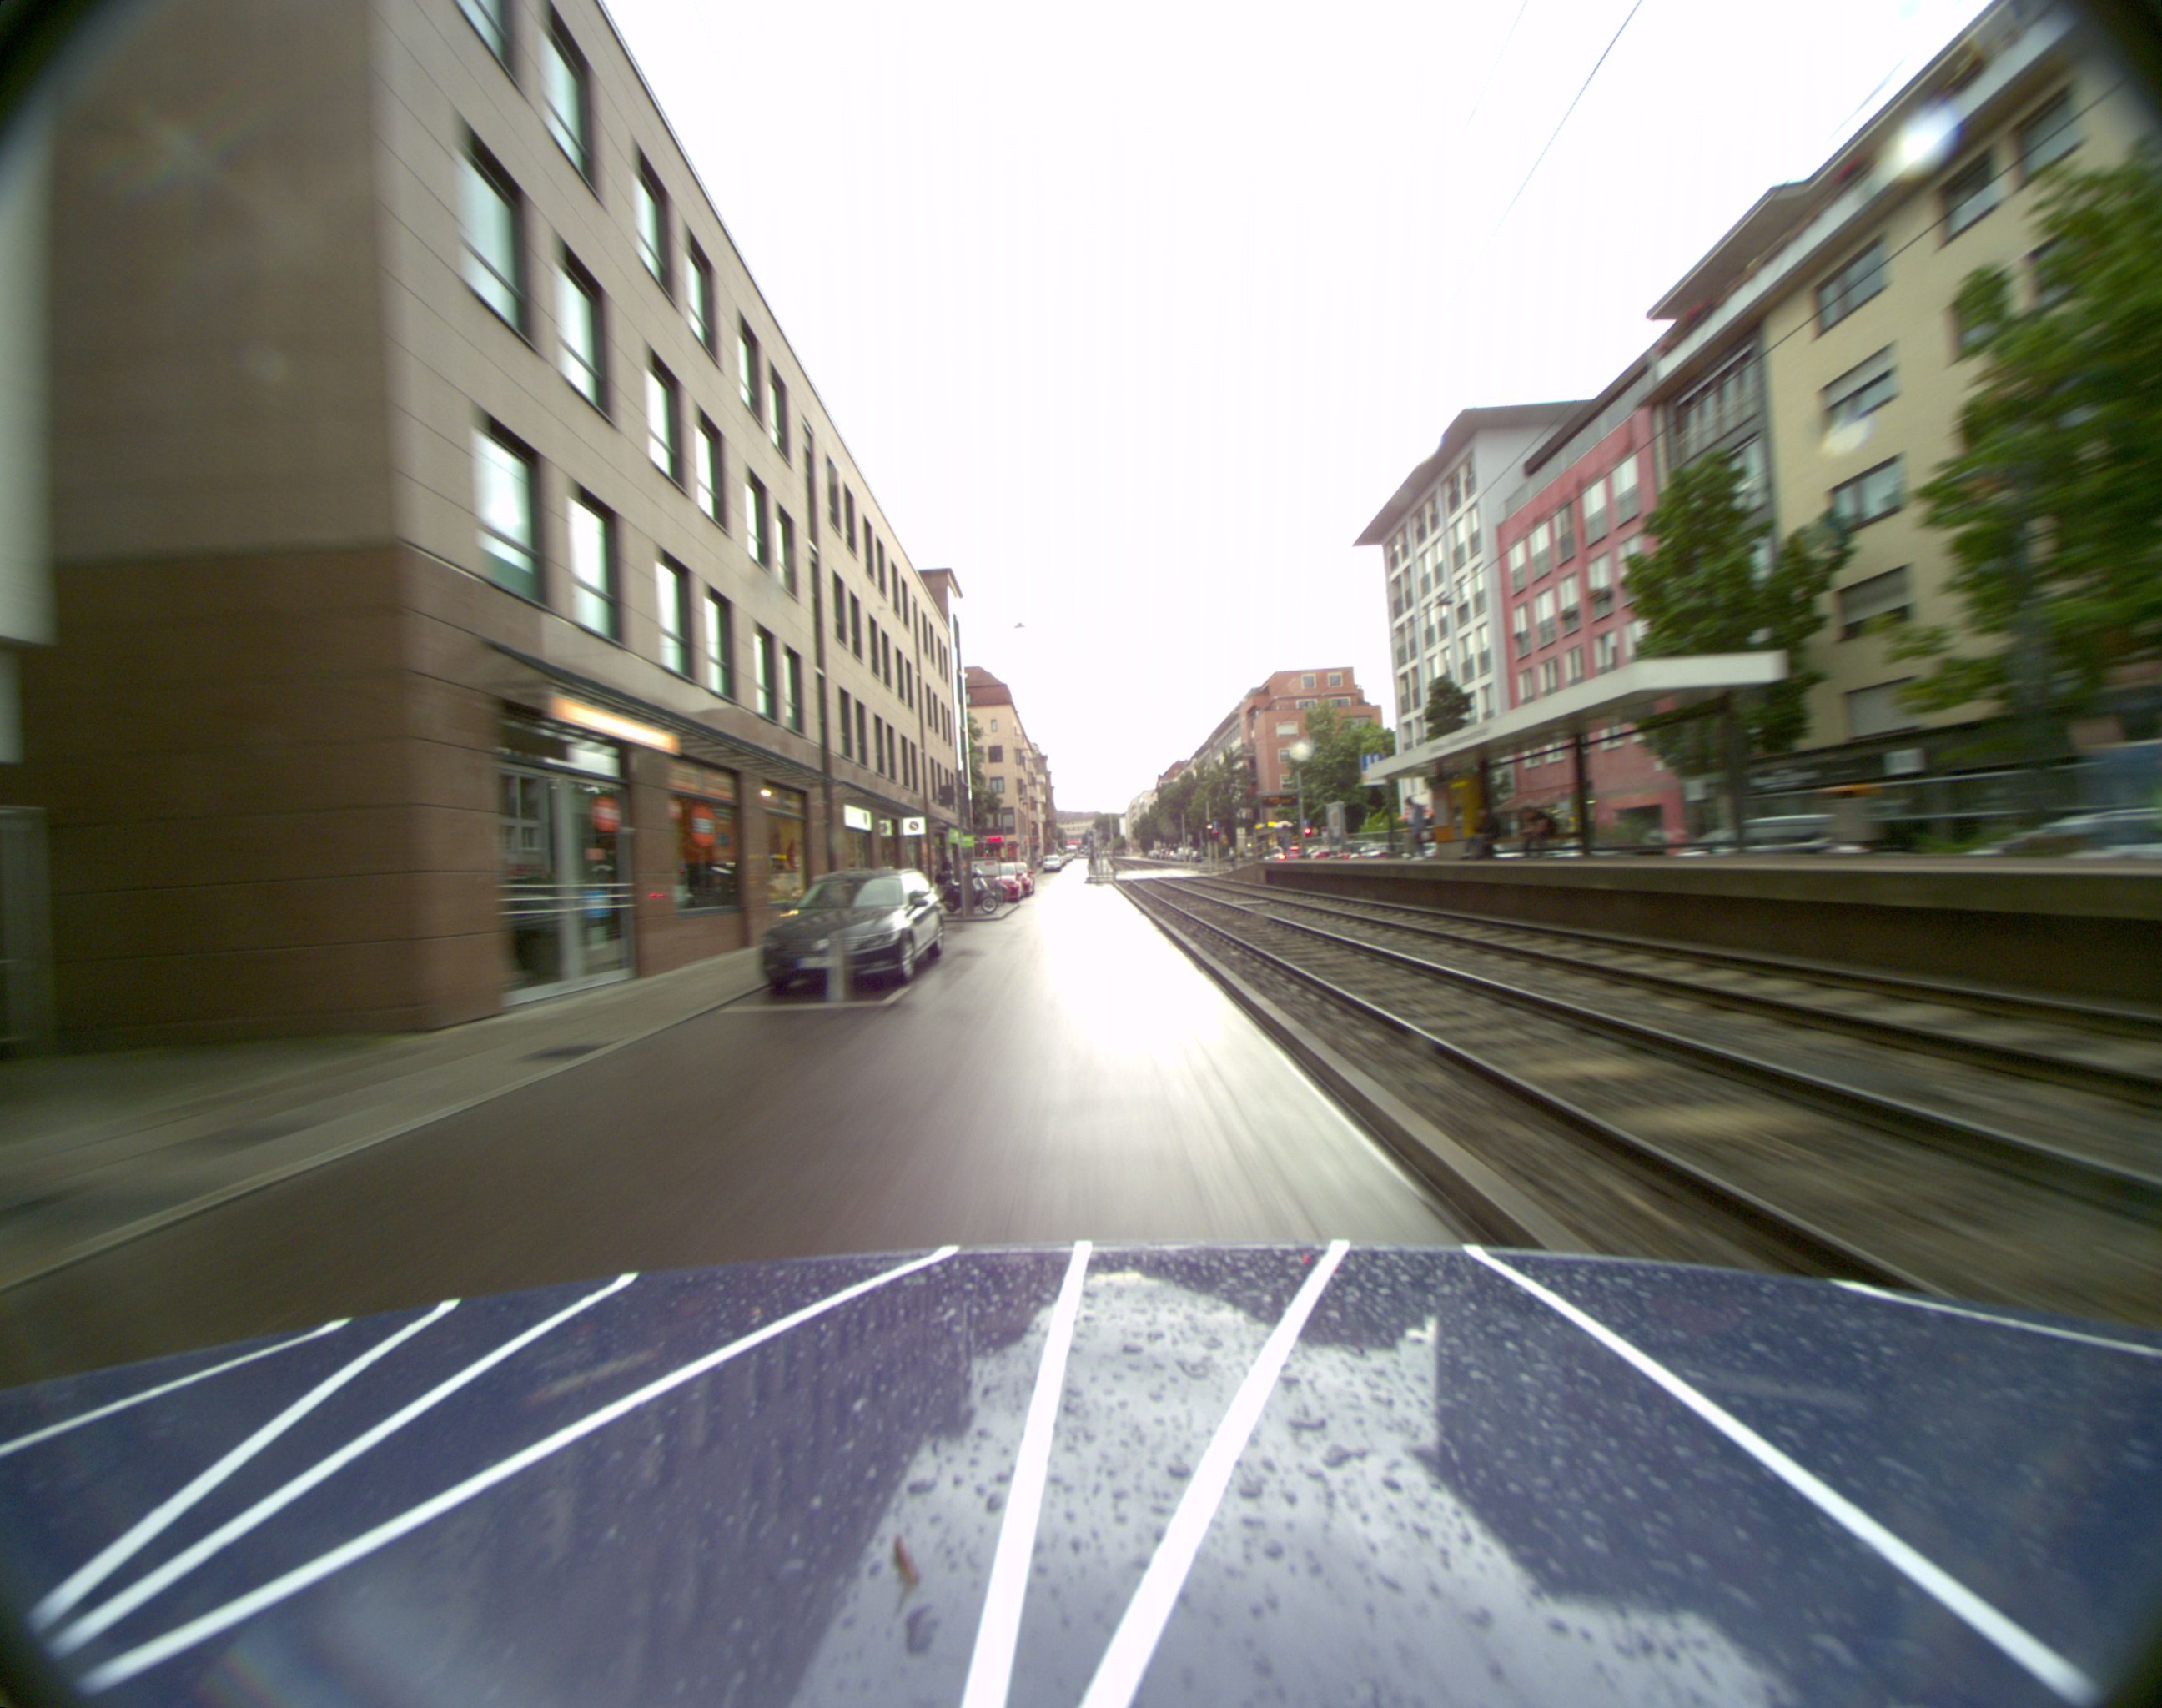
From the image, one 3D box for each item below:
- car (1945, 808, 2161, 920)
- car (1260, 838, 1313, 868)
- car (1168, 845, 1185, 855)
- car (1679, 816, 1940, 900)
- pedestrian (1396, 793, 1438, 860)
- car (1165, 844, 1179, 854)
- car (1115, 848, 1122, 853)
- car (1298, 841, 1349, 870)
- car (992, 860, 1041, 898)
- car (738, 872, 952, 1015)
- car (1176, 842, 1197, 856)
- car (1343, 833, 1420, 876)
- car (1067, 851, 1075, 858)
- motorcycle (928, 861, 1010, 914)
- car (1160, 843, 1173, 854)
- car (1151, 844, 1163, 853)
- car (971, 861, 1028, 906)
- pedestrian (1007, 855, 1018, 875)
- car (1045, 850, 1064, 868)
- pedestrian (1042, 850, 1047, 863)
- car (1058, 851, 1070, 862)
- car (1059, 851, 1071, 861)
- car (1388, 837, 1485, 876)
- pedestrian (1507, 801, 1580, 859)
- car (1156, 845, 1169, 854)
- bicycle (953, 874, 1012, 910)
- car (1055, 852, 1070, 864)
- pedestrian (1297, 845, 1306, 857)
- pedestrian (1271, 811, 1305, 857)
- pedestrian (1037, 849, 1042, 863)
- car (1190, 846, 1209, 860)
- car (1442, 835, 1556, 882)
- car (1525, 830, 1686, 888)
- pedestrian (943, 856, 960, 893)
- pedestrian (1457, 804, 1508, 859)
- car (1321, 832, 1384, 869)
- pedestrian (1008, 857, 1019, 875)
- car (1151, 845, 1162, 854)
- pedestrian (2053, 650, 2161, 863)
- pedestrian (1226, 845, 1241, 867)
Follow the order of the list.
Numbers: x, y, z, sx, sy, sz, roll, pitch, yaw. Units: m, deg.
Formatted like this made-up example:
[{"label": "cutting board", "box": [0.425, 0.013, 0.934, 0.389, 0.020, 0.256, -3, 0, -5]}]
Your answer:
[{"label": "car", "box": [14.677, 0.101, 10.291, 1.572, 1.428, 3.735, -3, 0, -3]}, {"label": "car", "box": [12.174, -0.071, 45.317, 1.811, 1.569, 5.020, -3, 0, 1]}, {"label": "car", "box": [14.579, -0.671, 115.974, 1.696, 1.454, 4.529, -3, 1, -3]}, {"label": "car", "box": [14.491, 0.061, 15.430, 1.572, 1.428, 3.735, -3, 0, -3]}, {"label": "pedestrian", "box": [8.926, -0.717, 20.233, 0.657, 1.701, 0.850, -3, 1, -2]}, {"label": "car", "box": [14.847, -0.758, 123.917, 1.643, 1.530, 3.803, -3, 1, -1]}, {"label": "car", "box": [11.134, -1.078, 225.540, 1.696, 1.454, 4.529, -3, 1, -3]}, {"label": "car", "box": [14.941, 0.085, 47.038, 1.730, 1.602, 4.553, -3, 0, 2]}, {"label": "car", "box": [-2.821, 1.058, 33.875, 1.702, 1.471, 3.867, -1, 1, 2]}, {"label": "car", "box": [-3.132, 1.093, 11.147, 1.779, 1.460, 4.608, -3, 0, -2]}, {"label": "car", "box": [14.774, -0.670, 106.712, 1.912, 1.834, 5.255, -3, 1, -4]}, {"label": "car", "box": [14.380, 0.025, 36.621, 1.807, 1.847, 4.379, -3, 0, -2]}, {"label": "car", "box": [-2.241, 0.094, 166.771, 1.588, 1.343, 3.977, -3, 1, -1]}, {"label": "motorcycle", "box": [-3.185, 0.947, 21.654, 2.086, 1.399, 0.800, -2, 1, 19]}, {"label": "car", "box": [14.561, -0.935, 129.752, 1.678, 1.807, 4.431, -3, 1, -1]}, {"label": "car", "box": [14.739, -1.129, 146.901, 1.662, 1.575, 4.337, -3, 1, -1]}, {"label": "car", "box": [-3.017, 1.057, 28.797, 1.703, 1.454, 3.866, -1, 1, 0]}, {"label": "pedestrian", "box": [-6.558, 1.058, 72.721, 0.665, 1.809, 0.597, -2, 2, 41]}, {"label": "car", "box": [-2.832, 0.514, 82.780, 1.911, 1.796, 4.776, -3, 1, -1]}, {"label": "pedestrian", "box": [-4.916, 0.310, 101.182, 0.546, 1.671, 0.595, -3, 1, -7]}, {"label": "car", "box": [-2.559, 0.331, 115.000, 1.649, 1.454, 3.413, -3, 1, 1]}, {"label": "car", "box": [-2.527, 0.310, 121.651, 1.720, 1.454, 3.444, -3, 1, 1]}, {"label": "car", "box": [14.718, 0.099, 31.730, 1.846, 1.428, 4.318, -3, 0, -3]}, {"label": "pedestrian", "box": [9.479, -0.485, 15.601, 0.895, 1.117, 0.849, -3, 1, -10]}, {"label": "car", "box": [14.552, -0.866, 135.366, 1.643, 1.432, 4.728, -3, 1, -1]}, {"label": "bicycle", "box": [-3.161, 1.226, 24.548, 1.791, 1.025, 0.462, -3, 1, -1]}, {"label": "car", "box": [-2.587, 0.539, 105.695, 1.911, 1.454, 4.244, -3, 1, 0]}, {"label": "pedestrian", "box": [22.317, -0.341, 76.884, 0.677, 1.171, 0.608, -3, 1, 6]}, {"label": "pedestrian", "box": [9.585, -0.920, 35.226, 1.119, 2.002, 1.383, -3, 1, 0]}, {"label": "pedestrian", "box": [-5.457, 0.299, 100.303, 0.530, 1.848, 0.556, -3, 1, -7]}, {"label": "car", "box": [14.723, -0.181, 94.595, 1.643, 1.614, 4.370, -3, 1, 1]}, {"label": "car", "box": [14.357, 0.141, 26.346, 1.572, 1.428, 3.978, -3, 0, -3]}, {"label": "car", "box": [14.736, 0.120, 21.638, 1.678, 1.428, 3.978, -3, 0, -3]}, {"label": "pedestrian", "box": [-6.083, 0.953, 35.610, 0.603, 1.650, 0.625, -3, 1, 1]}, {"label": "pedestrian", "box": [9.546, -0.532, 18.098, 0.694, 1.242, 0.884, -3, 1, -2]}, {"label": "car", "box": [14.866, -0.191, 41.797, 1.712, 1.847, 4.319, -3, 0, -2]}, {"label": "pedestrian", "box": [-6.358, 1.108, 71.843, 0.723, 1.640, 0.627, -2, 2, 41]}, {"label": "car", "box": [13.896, -0.918, 140.741, 1.643, 1.529, 4.022, -3, 1, 1]}, {"label": "pedestrian", "box": [9.444, -0.835, 6.679, 0.657, 1.791, 0.850, -3, 1, -2]}, {"label": "pedestrian", "box": [12.293, 0.134, 61.252, 0.821, 1.687, 0.985, -5, 1, -8]}]
